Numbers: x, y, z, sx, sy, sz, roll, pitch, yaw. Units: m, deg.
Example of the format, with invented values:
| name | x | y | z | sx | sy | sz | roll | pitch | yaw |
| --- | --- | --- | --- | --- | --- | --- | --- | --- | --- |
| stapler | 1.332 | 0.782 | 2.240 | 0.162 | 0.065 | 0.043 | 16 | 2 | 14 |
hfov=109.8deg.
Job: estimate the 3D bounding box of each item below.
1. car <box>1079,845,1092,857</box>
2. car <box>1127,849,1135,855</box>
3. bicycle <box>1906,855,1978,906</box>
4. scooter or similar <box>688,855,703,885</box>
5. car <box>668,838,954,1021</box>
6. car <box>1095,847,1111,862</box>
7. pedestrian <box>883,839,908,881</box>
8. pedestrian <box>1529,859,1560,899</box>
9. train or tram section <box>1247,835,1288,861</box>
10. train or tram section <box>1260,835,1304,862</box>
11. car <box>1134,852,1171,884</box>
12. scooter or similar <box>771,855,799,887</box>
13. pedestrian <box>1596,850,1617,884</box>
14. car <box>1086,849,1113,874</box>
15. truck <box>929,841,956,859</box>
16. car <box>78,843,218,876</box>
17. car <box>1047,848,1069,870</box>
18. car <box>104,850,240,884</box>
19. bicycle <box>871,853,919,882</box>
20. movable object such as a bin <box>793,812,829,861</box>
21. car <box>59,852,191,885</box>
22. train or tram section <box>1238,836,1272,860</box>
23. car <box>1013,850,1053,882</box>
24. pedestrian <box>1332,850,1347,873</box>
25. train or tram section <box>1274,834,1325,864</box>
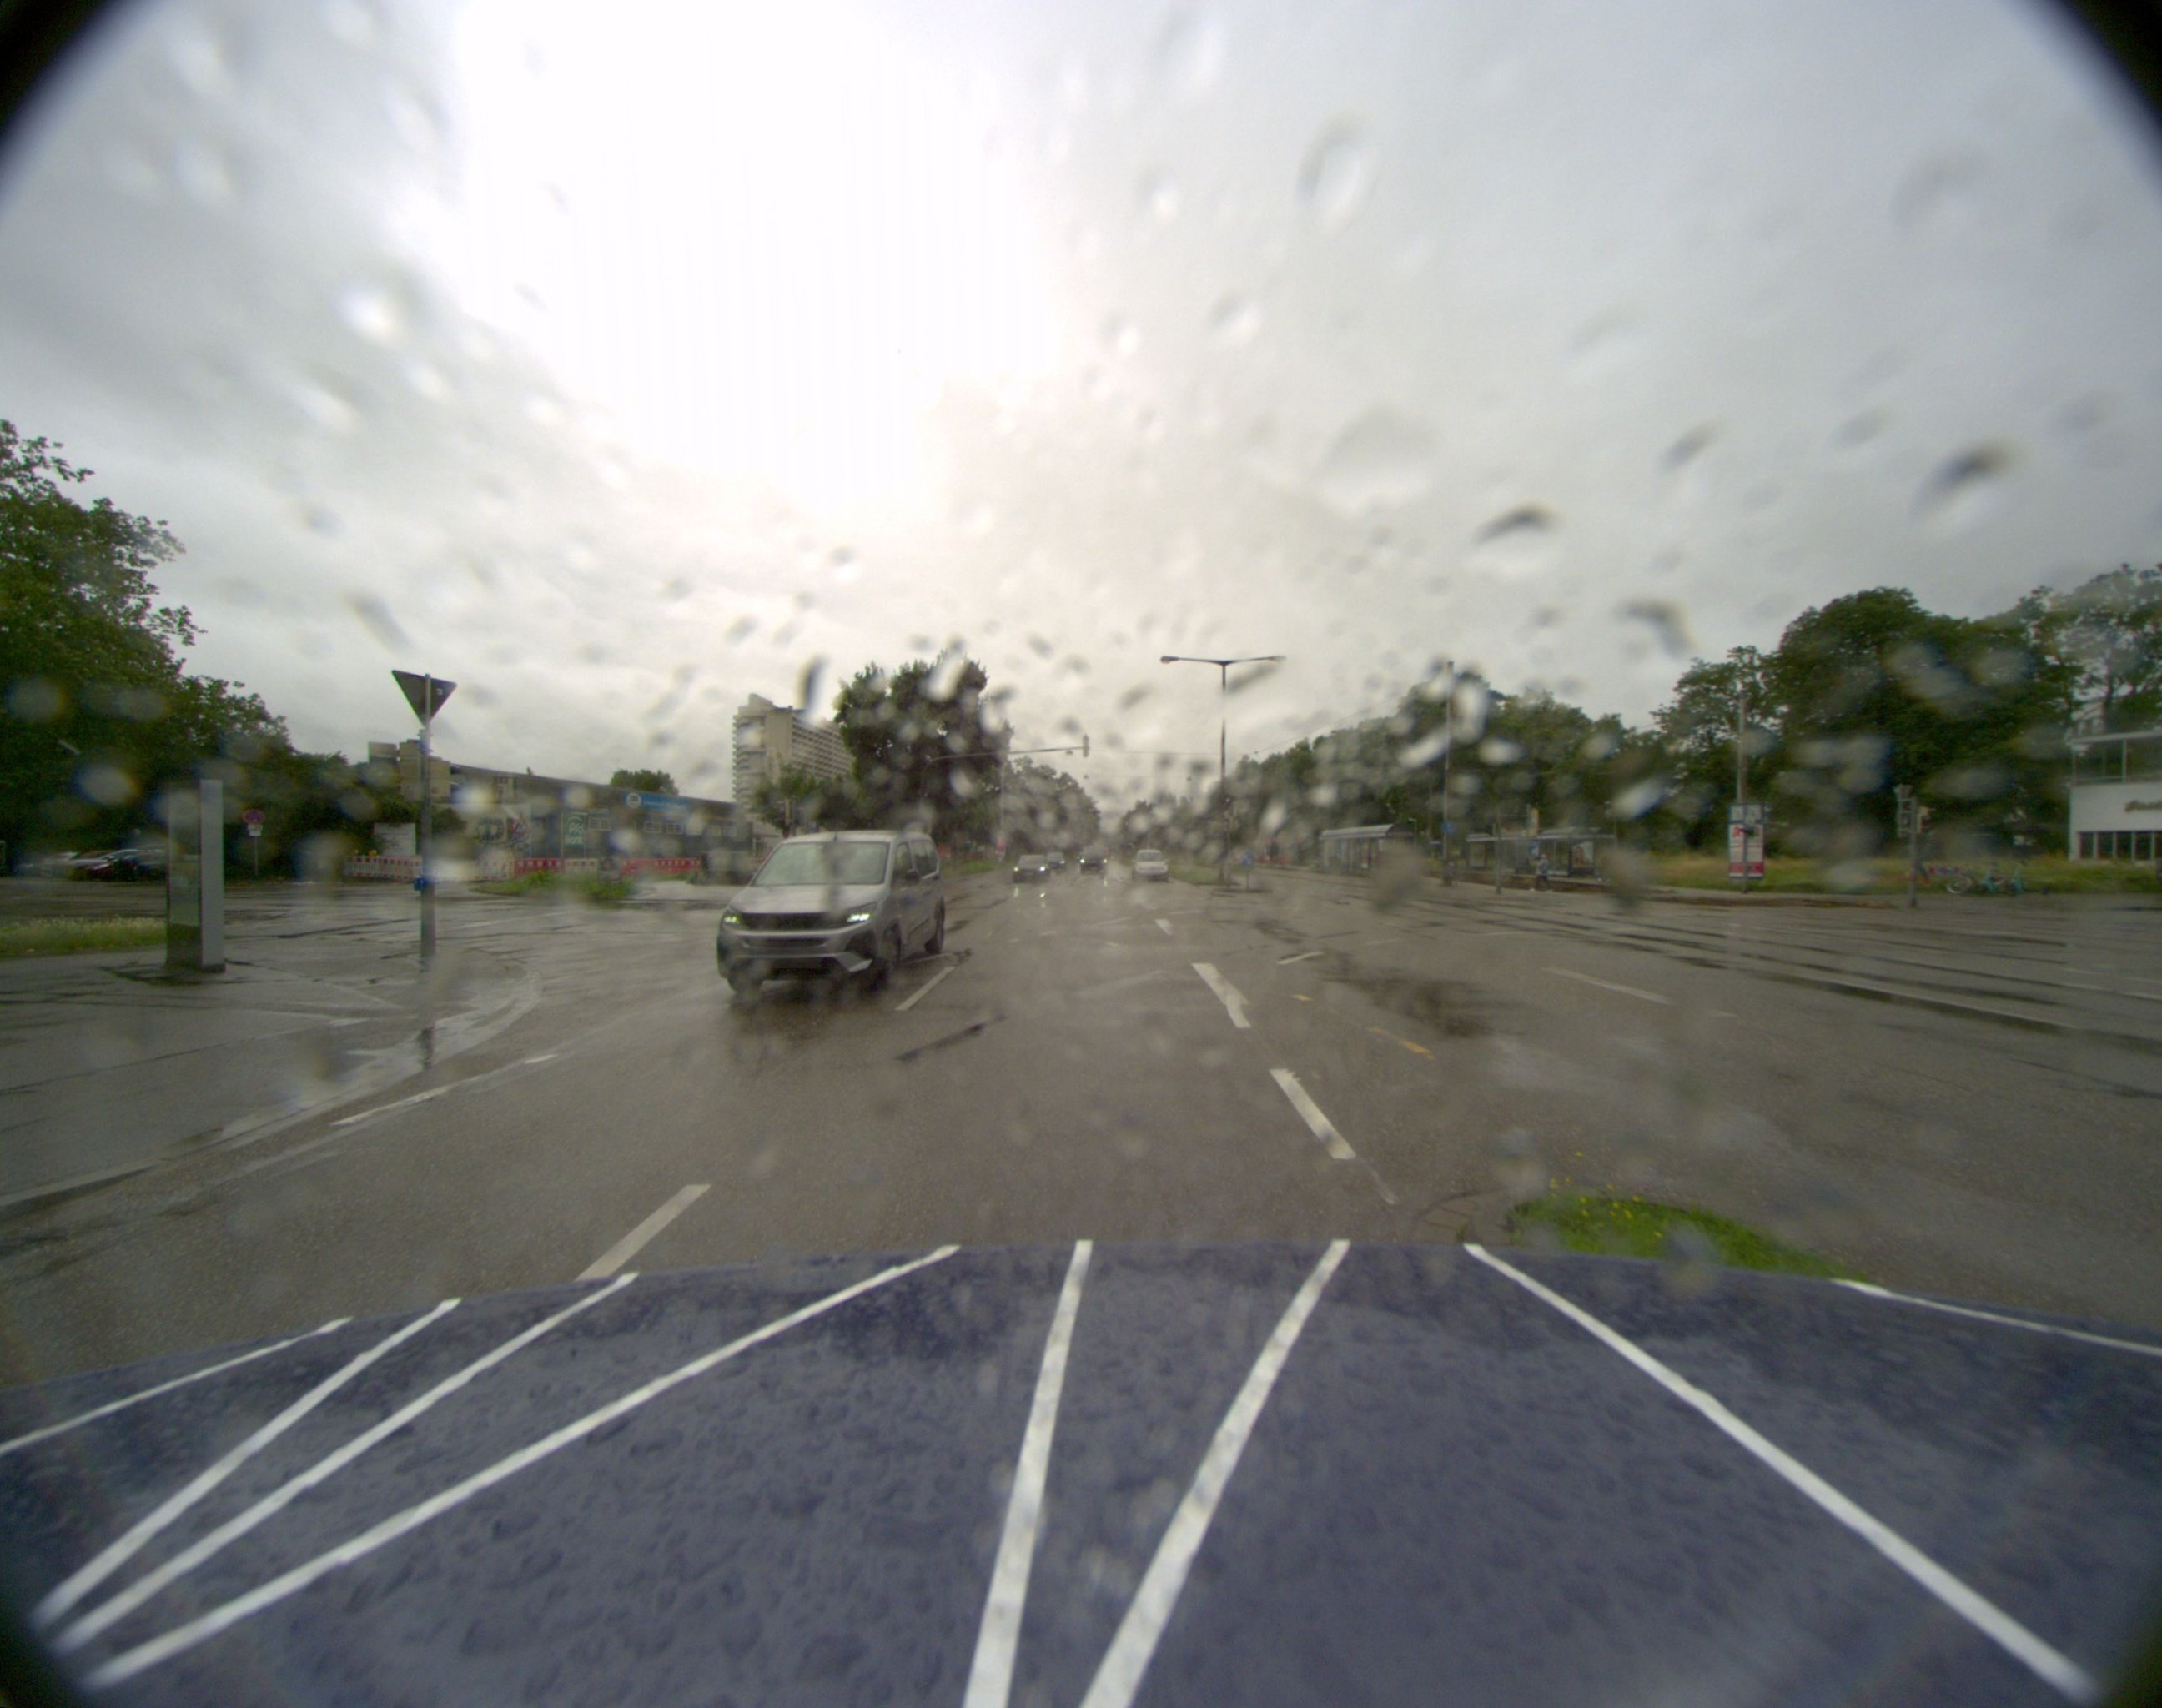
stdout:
| name | x | y | z | sx | sy | sz | roll | pitch | yaw |
| --- | --- | --- | --- | --- | --- | --- | --- | --- | --- |
| car | 0.687 | -0.417 | 106.553 | 1.726 | 1.643 | 3.999 | -2 | 1 | 1 |
| car | 12.298 | -0.558 | 185.790 | 1.684 | 1.353 | 4.251 | 2 | 1 | 0 |
| bicycle | 31.224 | 0.932 | 27.594 | 0.641 | 1.751 | 1.735 | 0 | 1 | 2 |
| scooter or similar | -15.608 | 0.642 | 30.757 | 0.286 | 1.170 | 0.560 | 0 | 1 | 8 |
| car | -3.064 | 0.716 | 9.846 | 1.998 | 1.785 | 4.561 | -1 | 1 | 1 |
| car | 2.714 | 0.026 | 92.311 | 1.898 | 1.602 | 4.000 | -2 | 1 | 2 |
| pedestrian | -7.520 | 0.237 | 30.816 | 0.670 | 1.669 | 0.787 | 3 | 2 | -32 |
| pedestrian | 19.773 | 1.044 | 32.437 | 0.783 | 1.648 | 0.802 | -2 | 2 | -22 |
| train or tram section | 25.903 | -0.823 | 106.281 | 3.541 | 3.381 | 10.261 | 0 | 1 | 2 |
| train or tram section | 25.575 | -0.713 | 97.192 | 3.541 | 3.370 | 9.278 | 0 | 1 | 2 |
| car | 3.751 | 0.708 | 40.412 | 1.740 | 1.535 | 4.014 | -1 | 0 | 3 |
| scooter or similar | -11.747 | 0.676 | 30.135 | 0.959 | 1.223 | 0.322 | 3 | 1 | 6 |
| pedestrian | 28.130 | 0.711 | 40.702 | 0.631 | 1.782 | 0.681 | -2 | 2 | 1 |
| car | 1.334 | 0.504 | 54.540 | 1.812 | 1.683 | 3.776 | -2 | 1 | 2 |
| truck | -24.322 | -0.763 | 133.728 | 2.811 | 2.882 | 8.748 | -2 | 1 | 1 |
| car | -47.617 | 0.274 | 38.878 | 1.802 | 1.563 | 4.219 | 1 | 1 | 27 |
| car | -1.848 | 0.409 | 61.757 | 1.651 | 1.652 | 3.776 | -2 | 1 | -1 |
| car | -45.091 | 0.626 | 37.801 | 1.698 | 1.501 | 4.006 | -1 | 1 | 27 |
| bicycle | -7.555 | 0.549 | 30.814 | 1.668 | 1.032 | 0.787 | 3 | 1 | -32 |
| movable object such as a bin | -25.024 | -1.628 | 70.494 | 1.557 | 4.401 | 3.909 | -2 | 1 | 3 |
| car | -50.212 | 0.740 | 39.988 | 1.698 | 1.501 | 4.006 | -1 | 1 | 27 |
| train or tram section | 26.189 | -0.922 | 114.516 | 3.541 | 3.392 | 7.902 | 0 | 1 | 2 |
| car | -2.624 | 0.607 | 42.363 | 1.858 | 1.583 | 3.999 | -2 | 1 | 1 |
| pedestrian | 18.686 | 0.544 | 54.844 | 0.806 | 1.588 | 0.929 | 0 | 1 | 4 |
| train or tram section | 25.280 | -0.614 | 88.620 | 3.541 | 3.370 | 9.278 | 0 | 1 | 2 |
